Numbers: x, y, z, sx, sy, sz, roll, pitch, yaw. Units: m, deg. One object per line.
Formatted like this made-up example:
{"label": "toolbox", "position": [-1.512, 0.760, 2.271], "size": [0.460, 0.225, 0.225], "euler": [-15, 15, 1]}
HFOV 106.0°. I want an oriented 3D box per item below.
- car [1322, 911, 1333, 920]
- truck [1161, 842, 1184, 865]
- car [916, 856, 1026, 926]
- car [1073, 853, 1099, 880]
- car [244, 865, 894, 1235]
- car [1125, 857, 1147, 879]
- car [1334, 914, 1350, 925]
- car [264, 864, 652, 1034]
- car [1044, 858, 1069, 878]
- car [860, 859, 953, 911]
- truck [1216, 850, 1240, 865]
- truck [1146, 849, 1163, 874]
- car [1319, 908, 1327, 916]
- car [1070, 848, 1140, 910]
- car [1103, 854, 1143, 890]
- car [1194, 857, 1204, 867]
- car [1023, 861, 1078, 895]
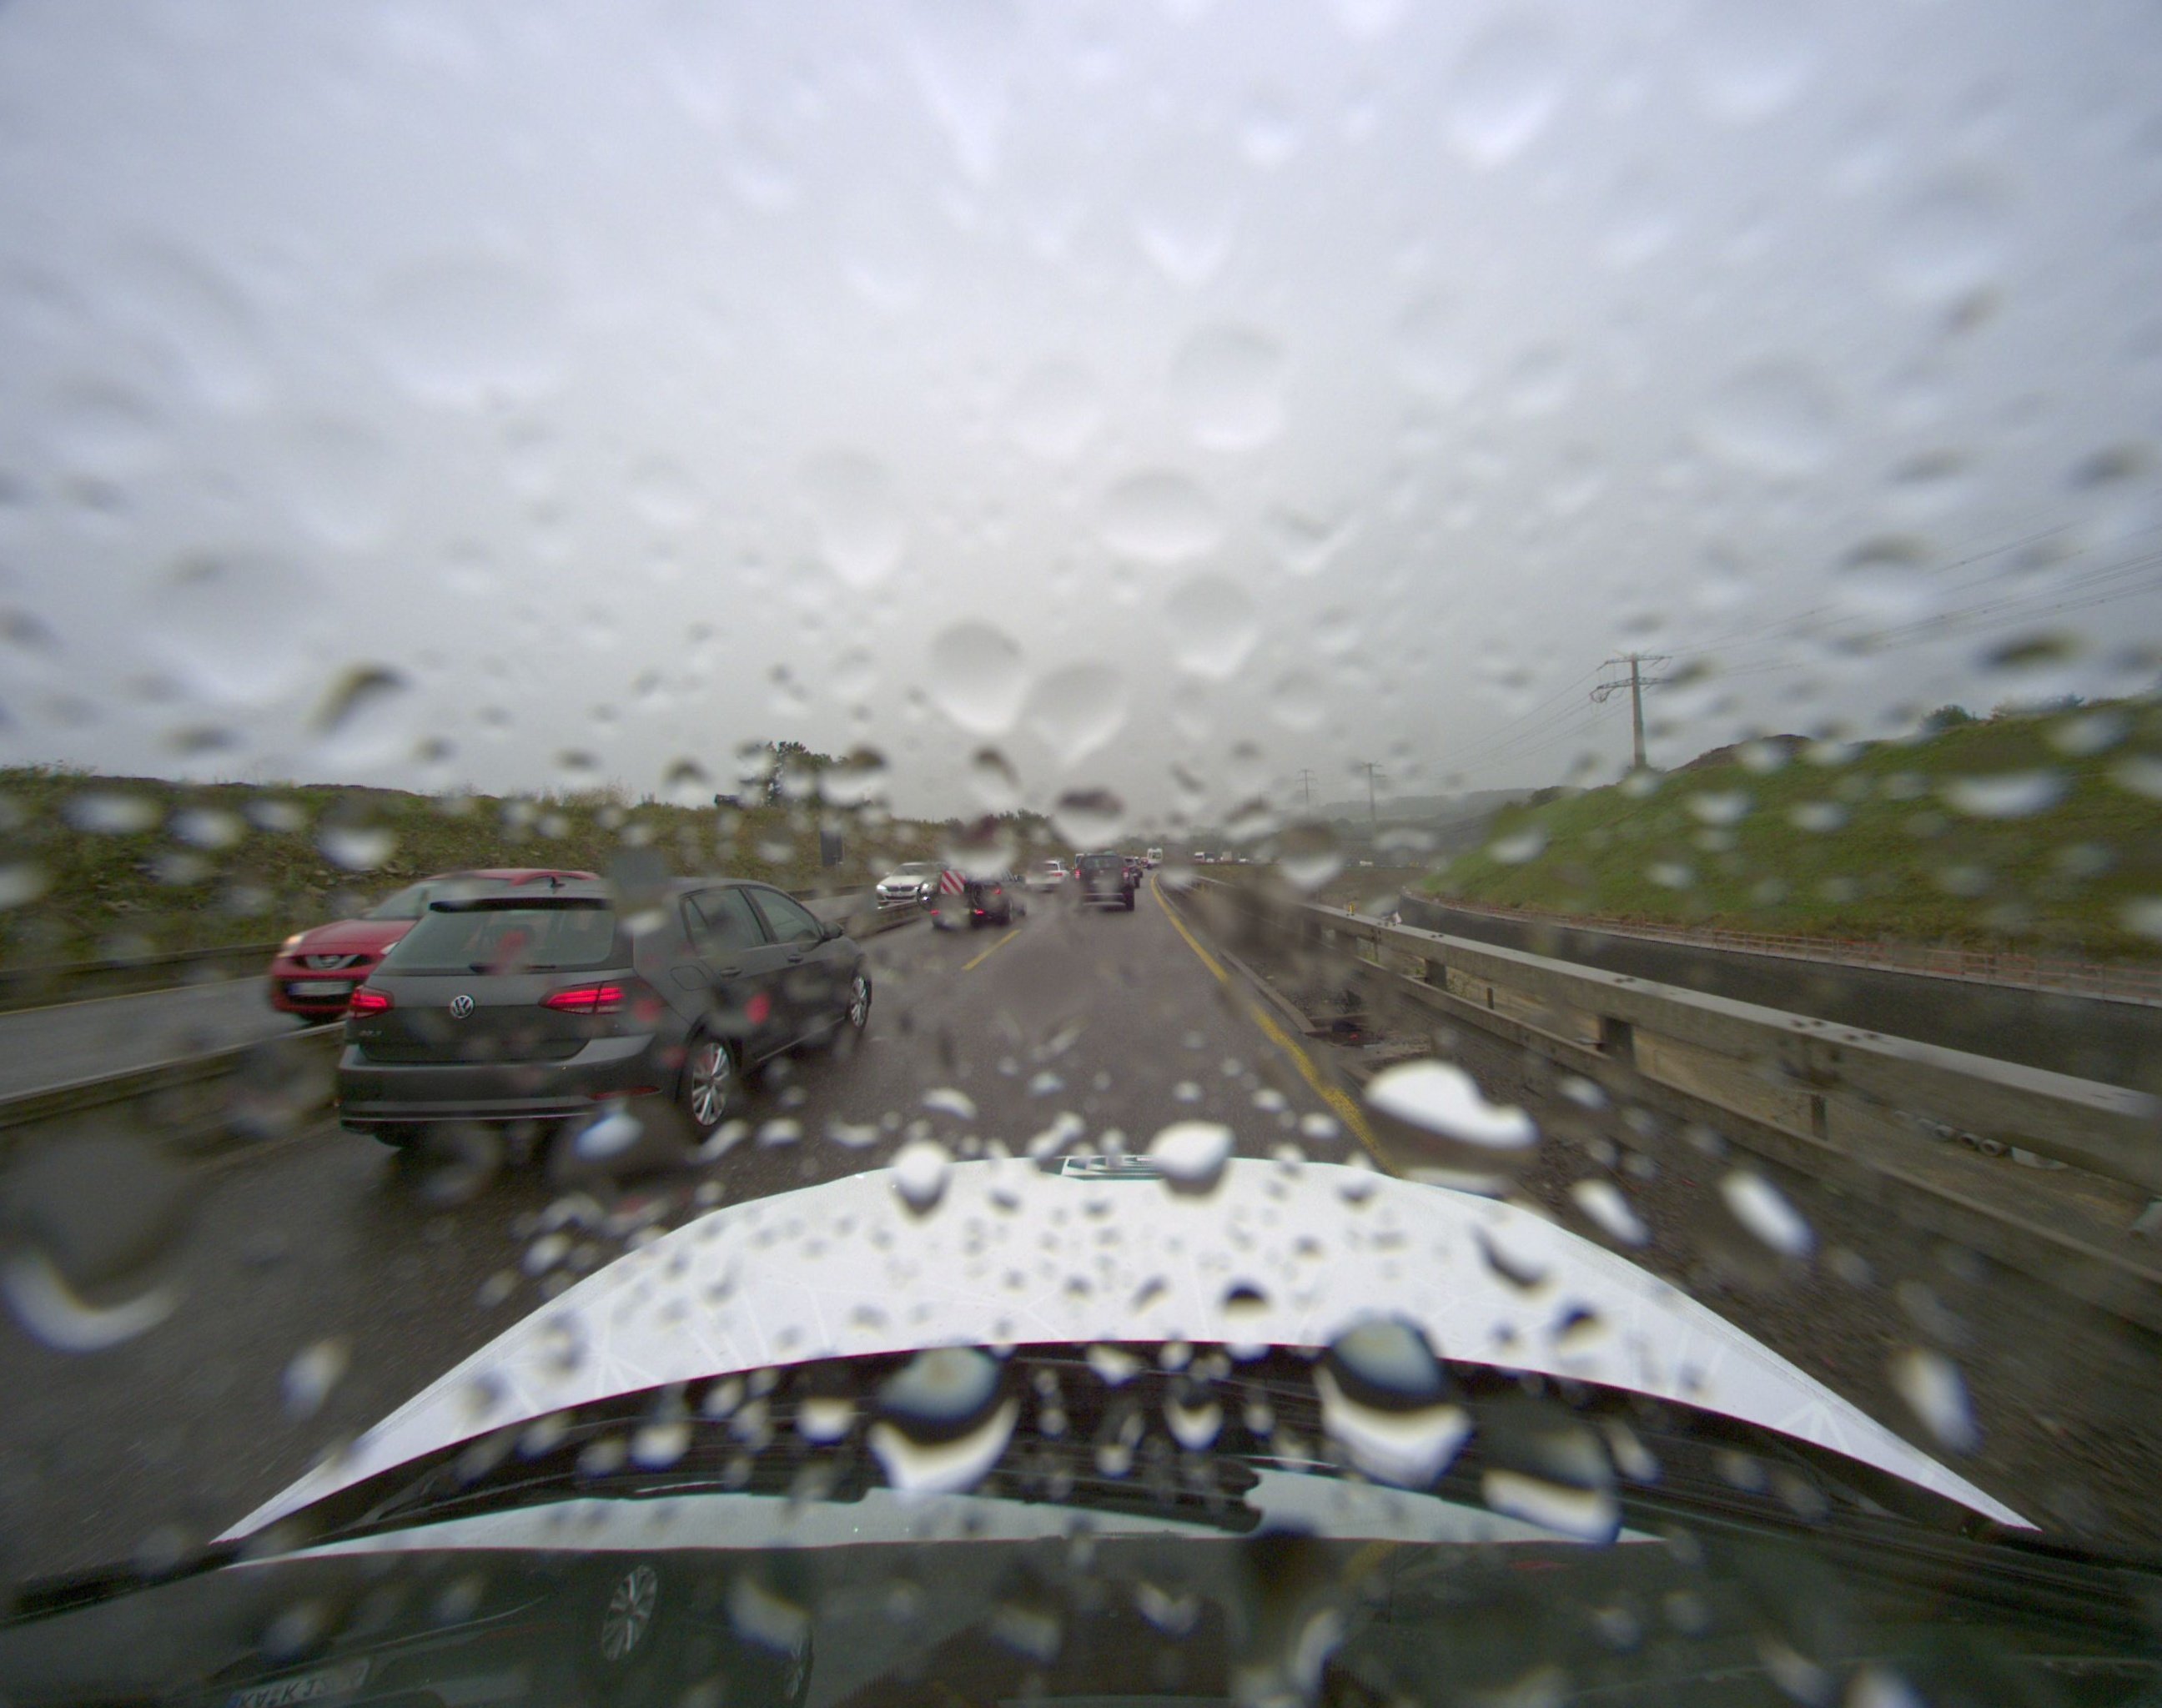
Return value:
{"label": "car", "position": [56.550, 14.090, 186.802], "size": [1.981, 1.816, 4.011], "euler": [-1, -1, 10]}
{"label": "truck", "position": [15.222, -0.054, 134.599], "size": [3.180, 3.761, 8.535], "euler": [0, 0, 11]}
{"label": "car", "position": [-2.495, 0.822, 19.366], "size": [1.820, 1.476, 3.780], "euler": [-1, -1, 4]}
{"label": "car", "position": [0.398, 0.912, 59.602], "size": [1.653, 1.880, 4.023], "euler": [0, 0, 4]}
{"label": "car", "position": [-2.732, 0.881, 5.714], "size": [1.608, 1.506, 4.371], "euler": [-2, 0, 2]}
{"label": "car", "position": [4.133, 1.055, 61.741], "size": [1.525, 1.640, 4.013], "euler": [0, 0, 1]}
{"label": "car", "position": [54.187, 13.584, 169.129], "size": [2.352, 2.014, 4.008], "euler": [0, 0, 7]}
{"label": "car", "position": [-6.925, 0.924, 9.635], "size": [1.722, 1.577, 3.720], "euler": [-1, -1, 0]}
{"label": "car", "position": [-2.086, 1.152, 70.434], "size": [1.804, 1.593, 4.904], "euler": [-2, 0, 2]}
{"label": "car", "position": [-6.002, 1.013, 28.704], "size": [2.038, 1.633, 4.991], "euler": [-1, -1, 2]}
{"label": "truck", "position": [41.955, 1.058, 231.743], "size": [4.680, 4.150, 15.752], "euler": [0, 0, 17]}
{"label": "truck", "position": [9.701, 0.935, 107.334], "size": [2.139, 3.166, 6.469], "euler": [0, 0, 5]}
{"label": "car", "position": [71.404, 17.138, 239.899], "size": [1.977, 2.014, 4.020], "euler": [0, 0, 20]}
{"label": "car", "position": [0.768, 0.684, 23.579], "size": [1.796, 1.646, 3.781], "euler": [-1, -1, 5]}
{"label": "car", "position": [2.154, 0.872, 40.764], "size": [1.859, 1.708, 4.005], "euler": [0, 0, 4]}
{"label": "car", "position": [22.793, 1.449, 157.206], "size": [1.764, 1.916, 4.012], "euler": [0, 0, 11]}
{"label": "car", "position": [-1.355, 1.071, 37.642], "size": [1.858, 1.460, 4.557], "euler": [0, 0, 7]}
